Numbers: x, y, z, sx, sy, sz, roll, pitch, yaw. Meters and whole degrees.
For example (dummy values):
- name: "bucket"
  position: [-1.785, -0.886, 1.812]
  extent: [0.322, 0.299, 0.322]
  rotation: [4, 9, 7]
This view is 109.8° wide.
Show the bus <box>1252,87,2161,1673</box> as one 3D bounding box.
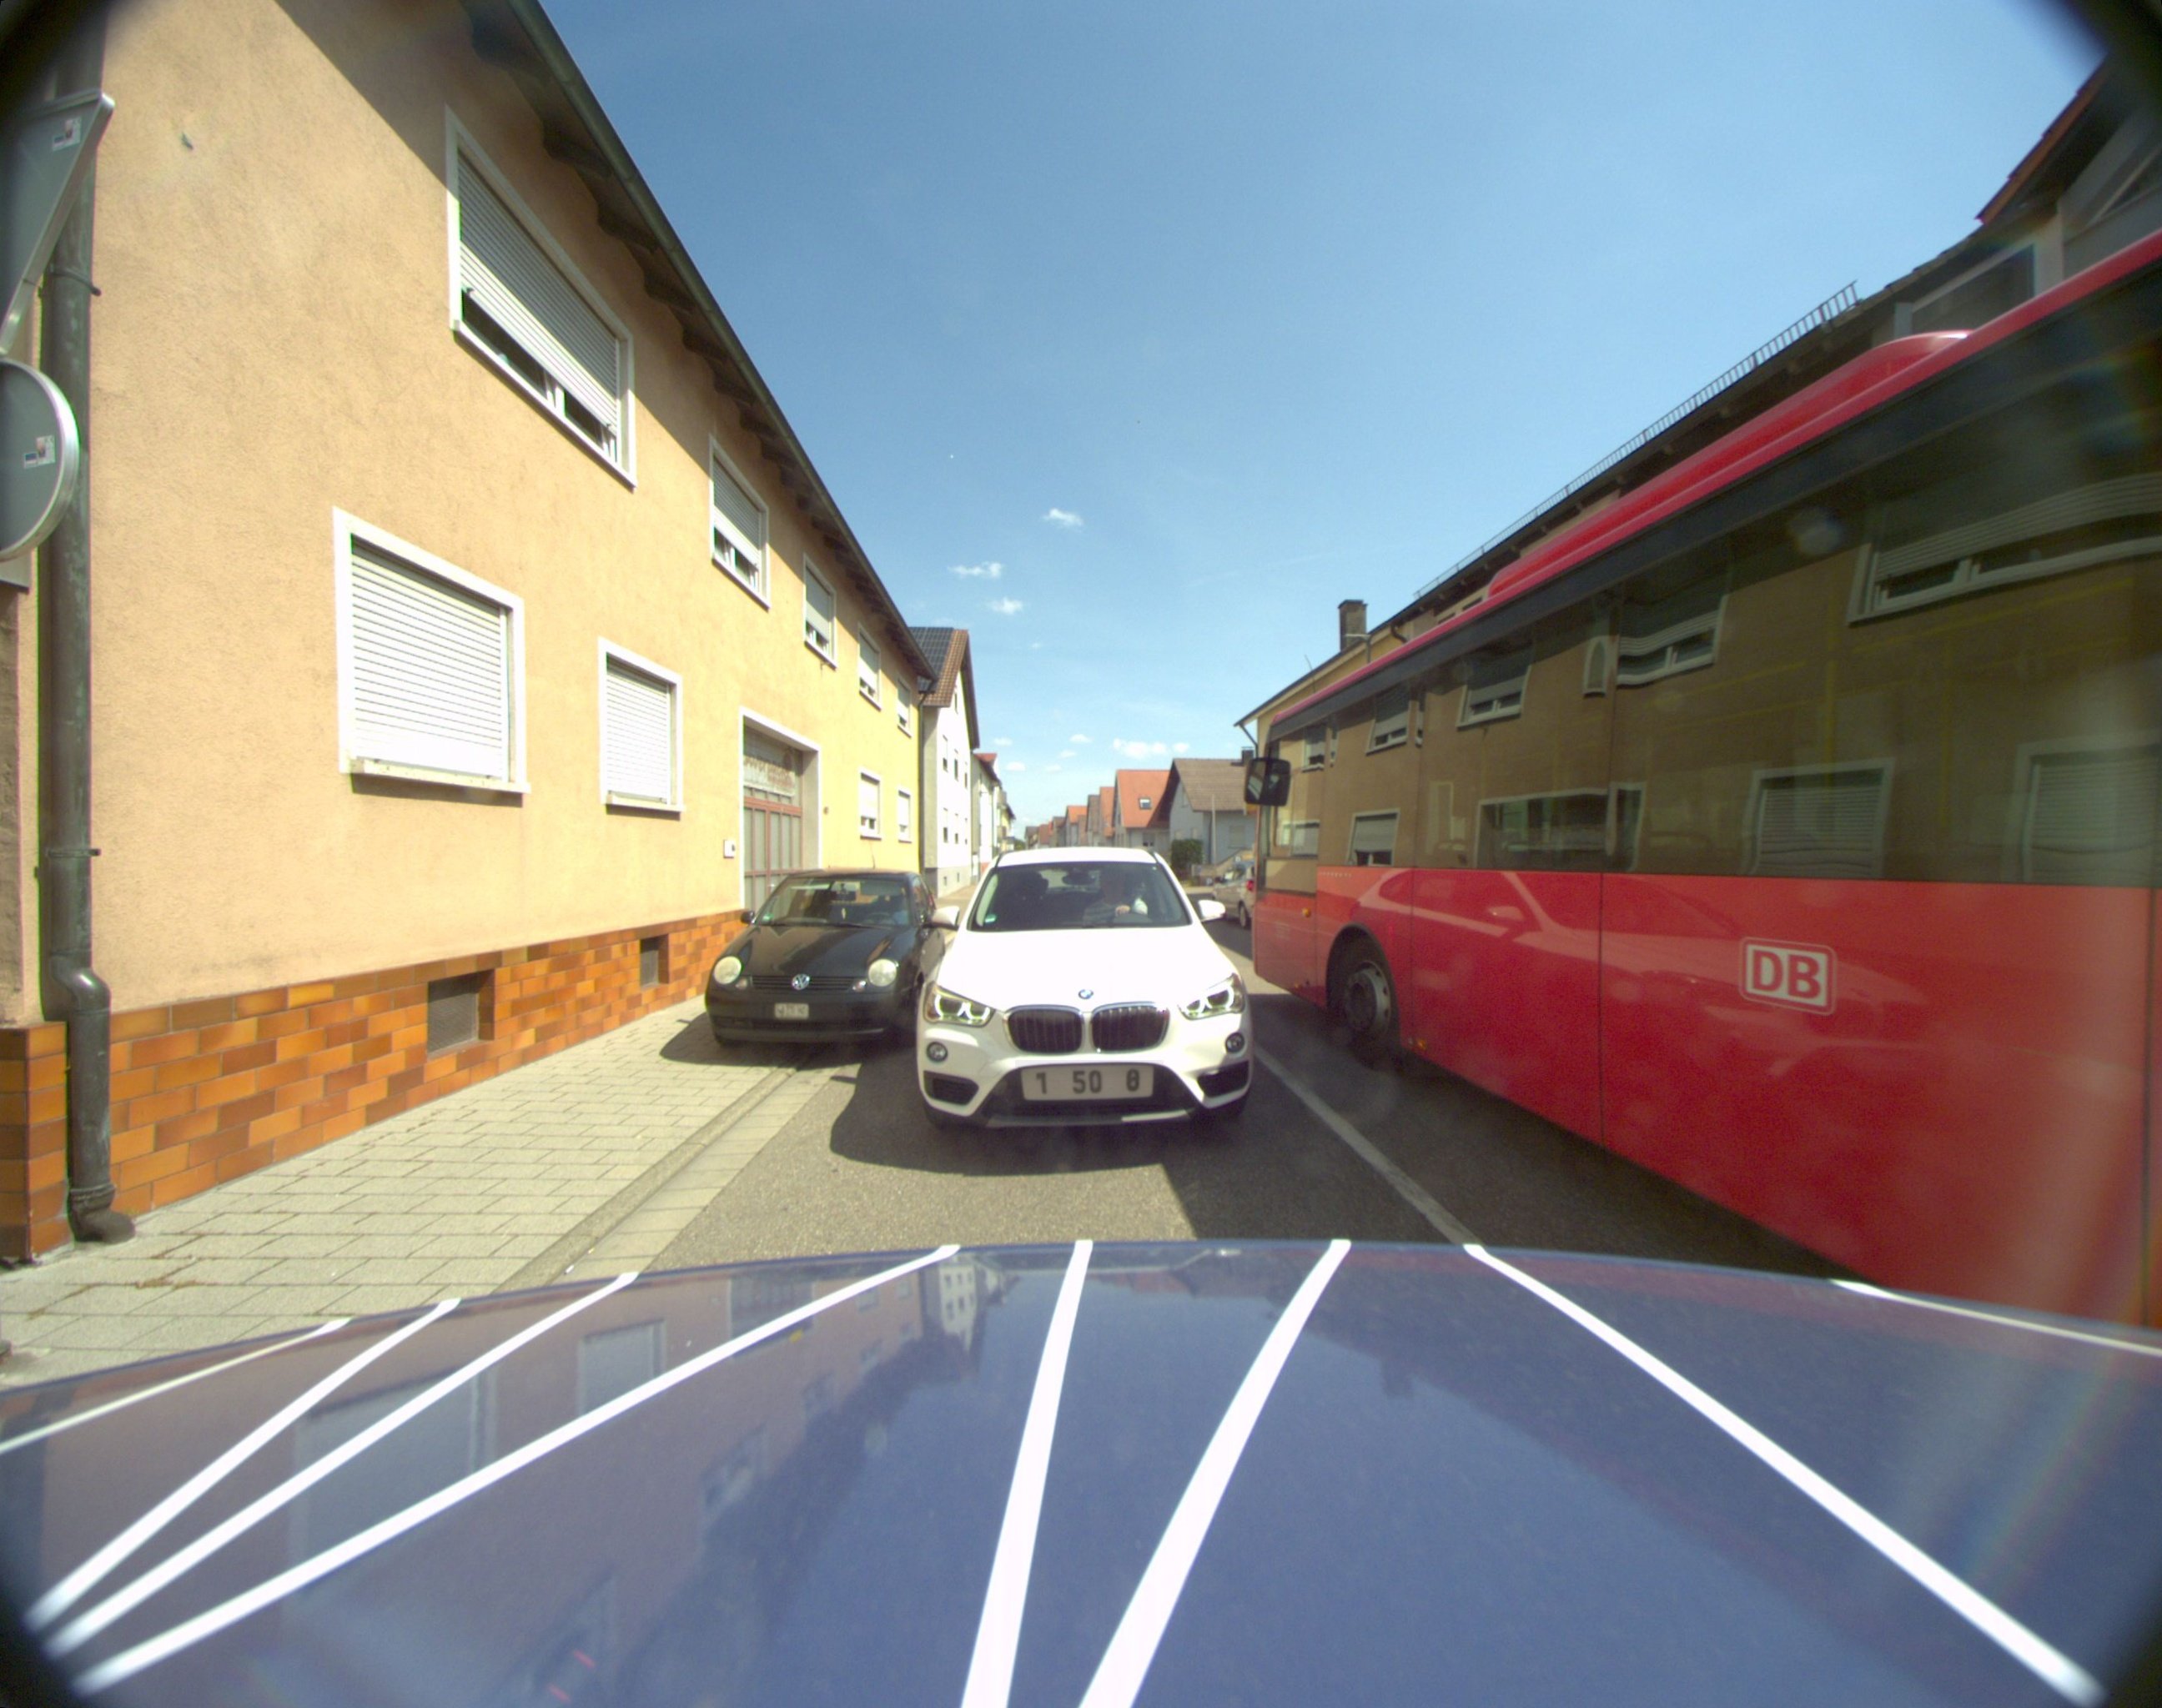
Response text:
- name: "bus"
  position: [3.495, 0.058, 1.751]
  extent: [2.634, 3.213, 12.017]
  rotation: [1, 0, -4]

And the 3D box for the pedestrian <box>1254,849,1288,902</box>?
- name: "pedestrian"
  position: [5.936, 0.654, 23.761]
  extent: [0.757, 1.575, 0.956]
  rotation: [-2, 1, -1]

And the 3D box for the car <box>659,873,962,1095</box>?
- name: "car"
  position: [-2.181, 0.969, 7.165]
  extent: [1.690, 1.454, 3.628]
  rotation: [2, 0, -3]

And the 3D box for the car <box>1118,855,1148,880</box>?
- name: "car"
  position: [3.125, 0.791, 46.500]
  extent: [1.458, 1.362, 3.383]
  rotation: [-3, 0, -2]

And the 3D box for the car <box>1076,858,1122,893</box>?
- name: "car"
  position: [0.725, 0.877, 33.093]
  extent: [1.765, 1.389, 3.869]
  rotation: [1, 0, -3]

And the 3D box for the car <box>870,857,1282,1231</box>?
- name: "car"
  position: [-0.098, 0.880, 5.697]
  extent: [1.845, 1.636, 4.373]
  rotation: [-2, 0, -2]

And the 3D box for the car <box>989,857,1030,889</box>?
- name: "car"
  position: [-3.335, 0.867, 36.184]
  extent: [1.765, 1.420, 4.188]
  rotation: [0, 0, -3]

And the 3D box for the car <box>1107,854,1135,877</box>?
- name: "car"
  position: [2.669, 0.737, 50.871]
  extent: [1.442, 1.362, 3.383]
  rotation: [-3, 0, -3]

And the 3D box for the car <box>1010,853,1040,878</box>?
- name: "car"
  position: [-3.415, 0.688, 46.805]
  extent: [1.765, 1.420, 4.188]
  rotation: [0, 0, -3]

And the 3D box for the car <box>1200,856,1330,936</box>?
- name: "car"
  position: [4.191, 0.890, 17.969]
  extent: [1.749, 1.507, 3.998]
  rotation: [-4, 1, -4]

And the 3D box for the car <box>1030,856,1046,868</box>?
- name: "car"
  position: [-5.433, 0.971, 95.157]
  extent: [1.765, 1.420, 4.187]
  rotation: [0, 0, -6]

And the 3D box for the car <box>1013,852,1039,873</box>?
- name: "car"
  position: [-3.827, 0.601, 53.236]
  extent: [1.765, 1.420, 4.188]
  rotation: [0, 0, -3]

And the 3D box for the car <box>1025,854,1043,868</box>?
- name: "car"
  position: [-4.749, 0.708, 76.659]
  extent: [1.765, 1.420, 4.188]
  rotation: [0, 0, -3]
